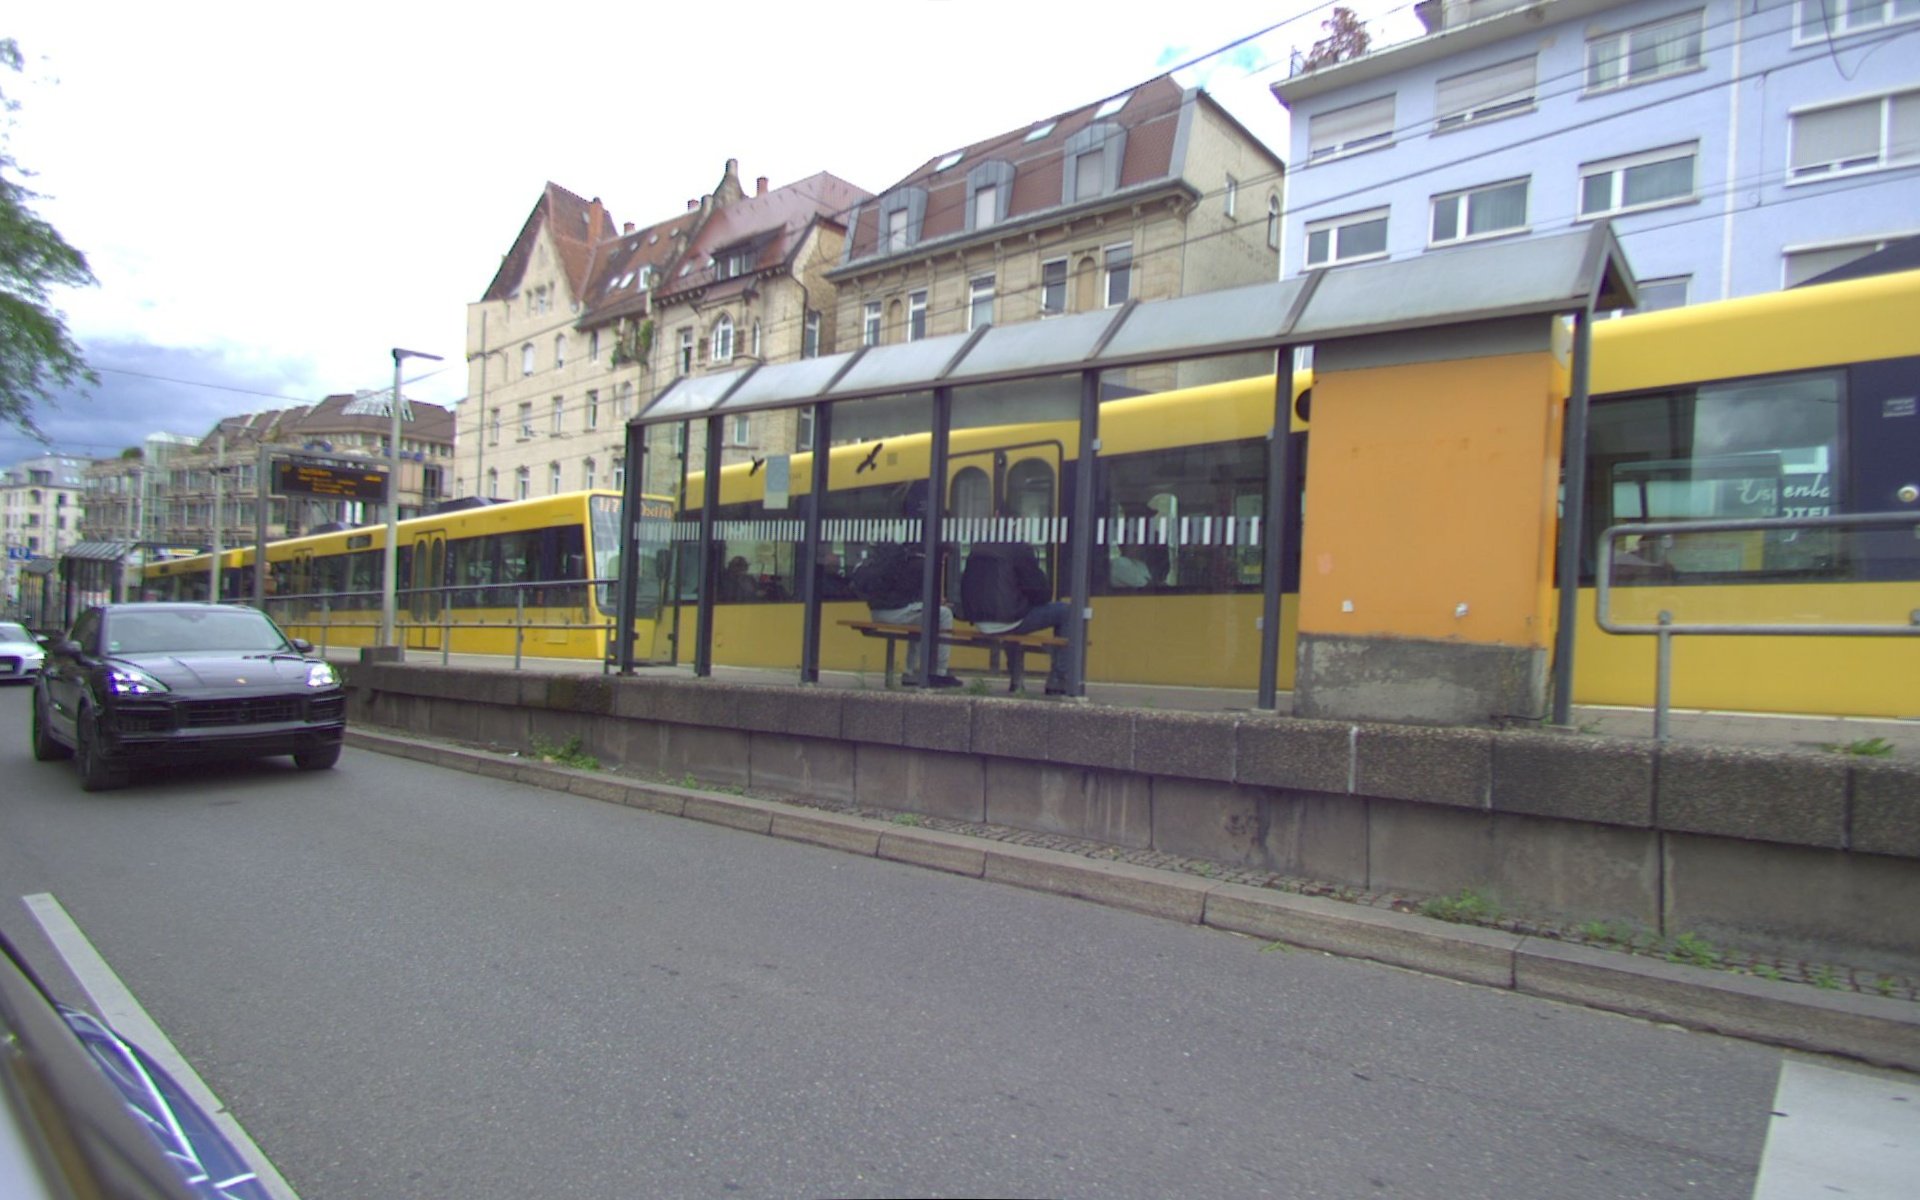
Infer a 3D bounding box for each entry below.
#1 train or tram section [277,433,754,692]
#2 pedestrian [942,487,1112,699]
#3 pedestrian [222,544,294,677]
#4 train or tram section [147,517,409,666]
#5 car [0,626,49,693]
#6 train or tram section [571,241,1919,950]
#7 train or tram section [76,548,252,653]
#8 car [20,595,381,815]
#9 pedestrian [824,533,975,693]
[{"bbox_3d":[-9.582,-0.396,19.834,14.225,3.585,2.892,-2,-1,42],"label":"train or tram section"},{"bbox_3d":[0.462,-0.017,6.866,0.778,1.316,0.841,-1,-4,42],"label":"pedestrian"},{"bbox_3d":[-12.559,0.200,18.110,0.772,2.302,0.827,-2,-3,41],"label":"pedestrian"},{"bbox_3d":[-20.213,-0.064,29.295,14.225,3.467,2.851,-2,-1,42],"label":"train or tram section"},{"bbox_3d":[-22.991,1.361,23.771,4.530,1.486,1.872,-2,-2,42],"label":"car"},{"bbox_3d":[0.997,0.320,10.536,14.219,3.692,2.852,-3,-7,40],"label":"train or tram section"},{"bbox_3d":[-30.803,0.144,38.751,14.225,3.445,2.851,-2,-1,42],"label":"train or tram section"},{"bbox_3d":[-7.805,0.878,10.202,4.780,1.698,2.006,-2,-2,42],"label":"car"},{"bbox_3d":[-0.465,0.120,7.831,0.778,1.151,0.841,-1,-4,42],"label":"pedestrian"}]
